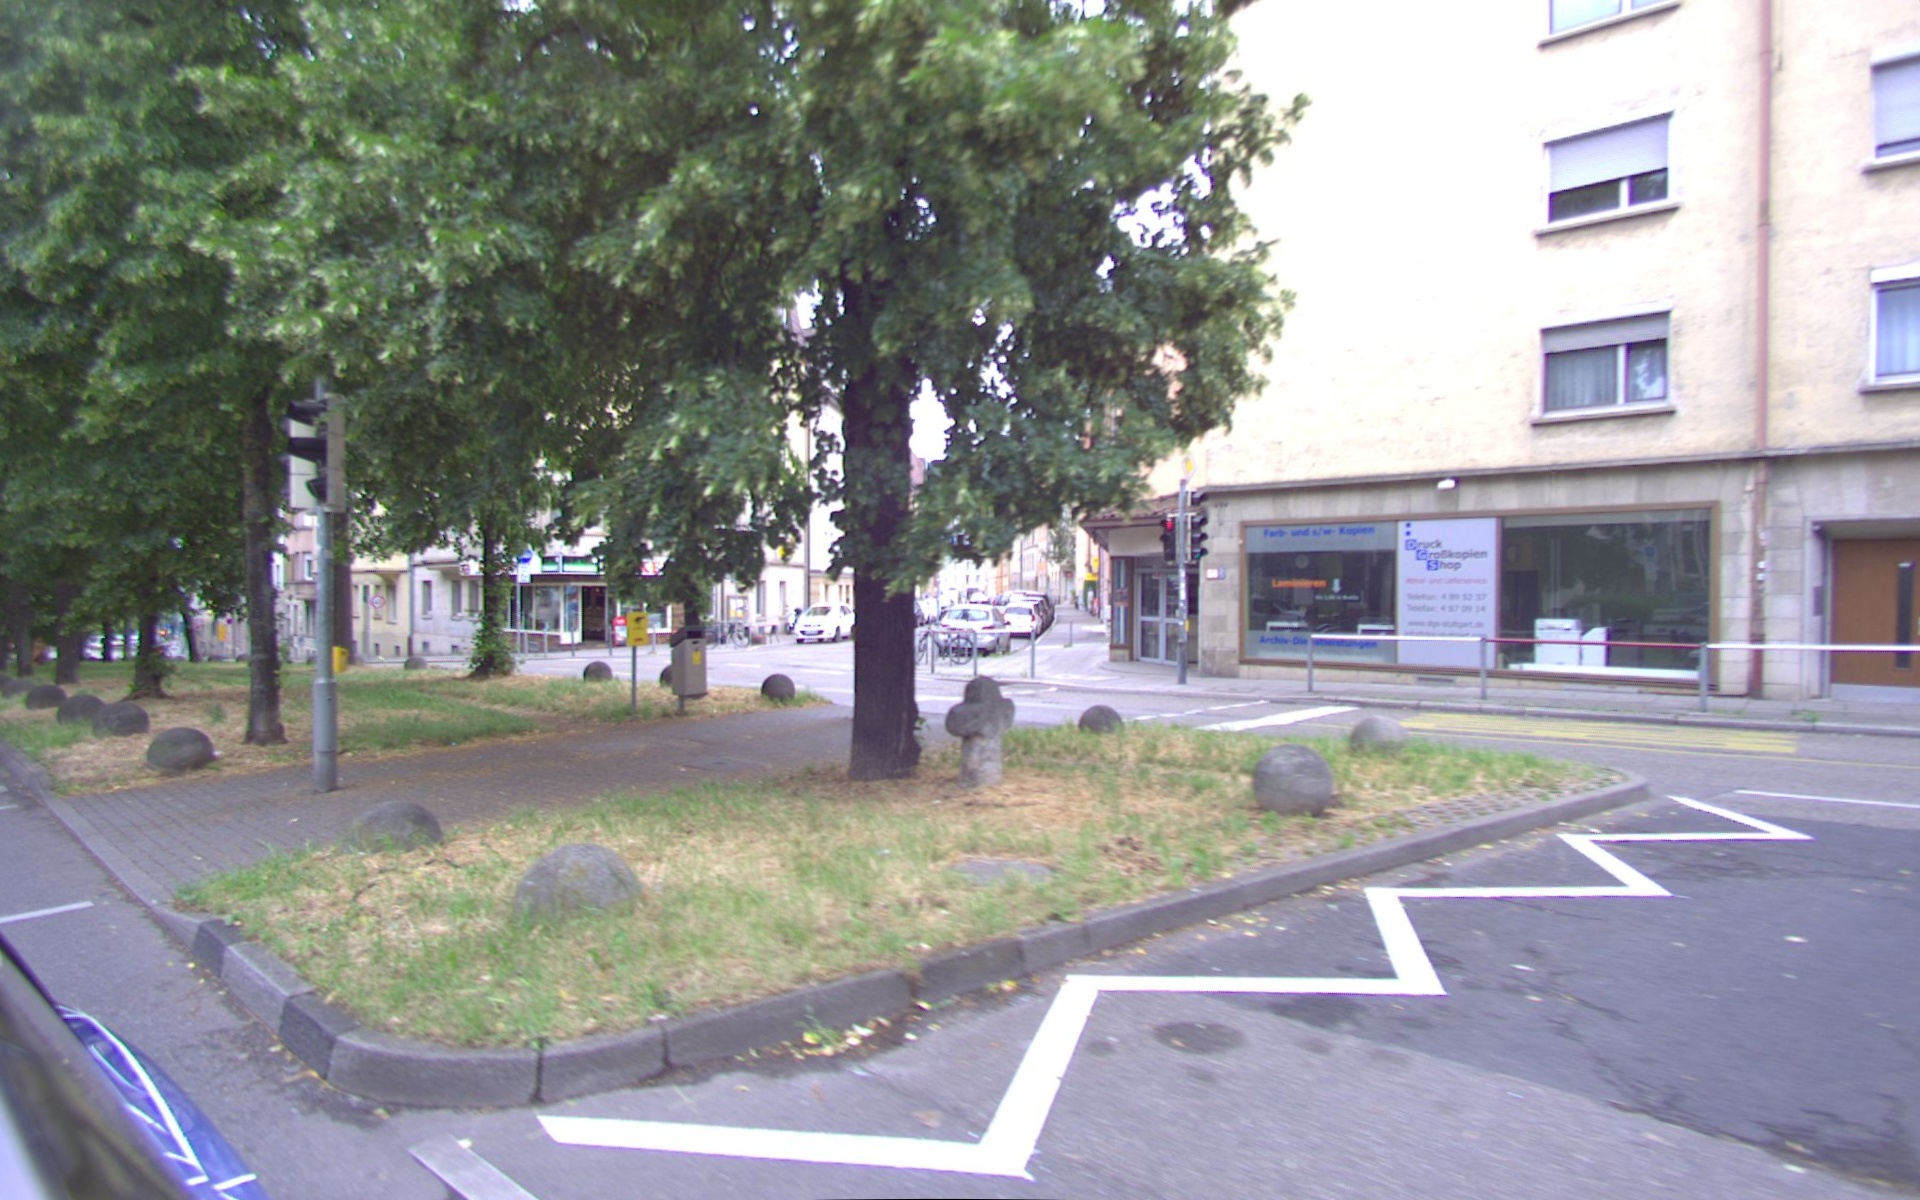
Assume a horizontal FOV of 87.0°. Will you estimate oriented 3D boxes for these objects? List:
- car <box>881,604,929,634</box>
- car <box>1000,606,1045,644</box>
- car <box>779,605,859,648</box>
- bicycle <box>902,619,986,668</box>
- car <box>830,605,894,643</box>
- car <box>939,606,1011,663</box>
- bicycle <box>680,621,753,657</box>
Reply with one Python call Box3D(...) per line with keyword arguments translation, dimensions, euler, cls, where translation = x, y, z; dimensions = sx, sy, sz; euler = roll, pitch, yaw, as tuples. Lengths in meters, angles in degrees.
Box3D(translation=(-2.954, 0.991, 54.831), dimensions=(1.961, 1.553, 3.505), euler=(-1, 0, 8), cls="car")
Box3D(translation=(2.756, 1.058, 44.136), dimensions=(1.709, 1.553, 3.505), euler=(-1, 0, 8), cls="car")
Box3D(translation=(-5.456, 1.005, 39.635), dimensions=(1.963, 1.553, 3.793), euler=(-1, 0, 12), cls="car")
Box3D(translation=(-0.415, 1.120, 25.990), dimensions=(2.049, 1.158, 0.677), euler=(-3, 0, 29), cls="bicycle")
Box3D(translation=(-4.254, 1.010, 44.331), dimensions=(1.845, 1.553, 3.500), euler=(-1, 0, 12), cls="car")
Box3D(translation=(0.520, 1.001, 30.954), dimensions=(1.670, 1.553, 3.631), euler=(-3, 0, 9), cls="car")
Box3D(translation=(-8.393, 1.317, 34.954), dimensions=(2.310, 1.108, 0.777), euler=(-2, 0, -31), cls="bicycle")
